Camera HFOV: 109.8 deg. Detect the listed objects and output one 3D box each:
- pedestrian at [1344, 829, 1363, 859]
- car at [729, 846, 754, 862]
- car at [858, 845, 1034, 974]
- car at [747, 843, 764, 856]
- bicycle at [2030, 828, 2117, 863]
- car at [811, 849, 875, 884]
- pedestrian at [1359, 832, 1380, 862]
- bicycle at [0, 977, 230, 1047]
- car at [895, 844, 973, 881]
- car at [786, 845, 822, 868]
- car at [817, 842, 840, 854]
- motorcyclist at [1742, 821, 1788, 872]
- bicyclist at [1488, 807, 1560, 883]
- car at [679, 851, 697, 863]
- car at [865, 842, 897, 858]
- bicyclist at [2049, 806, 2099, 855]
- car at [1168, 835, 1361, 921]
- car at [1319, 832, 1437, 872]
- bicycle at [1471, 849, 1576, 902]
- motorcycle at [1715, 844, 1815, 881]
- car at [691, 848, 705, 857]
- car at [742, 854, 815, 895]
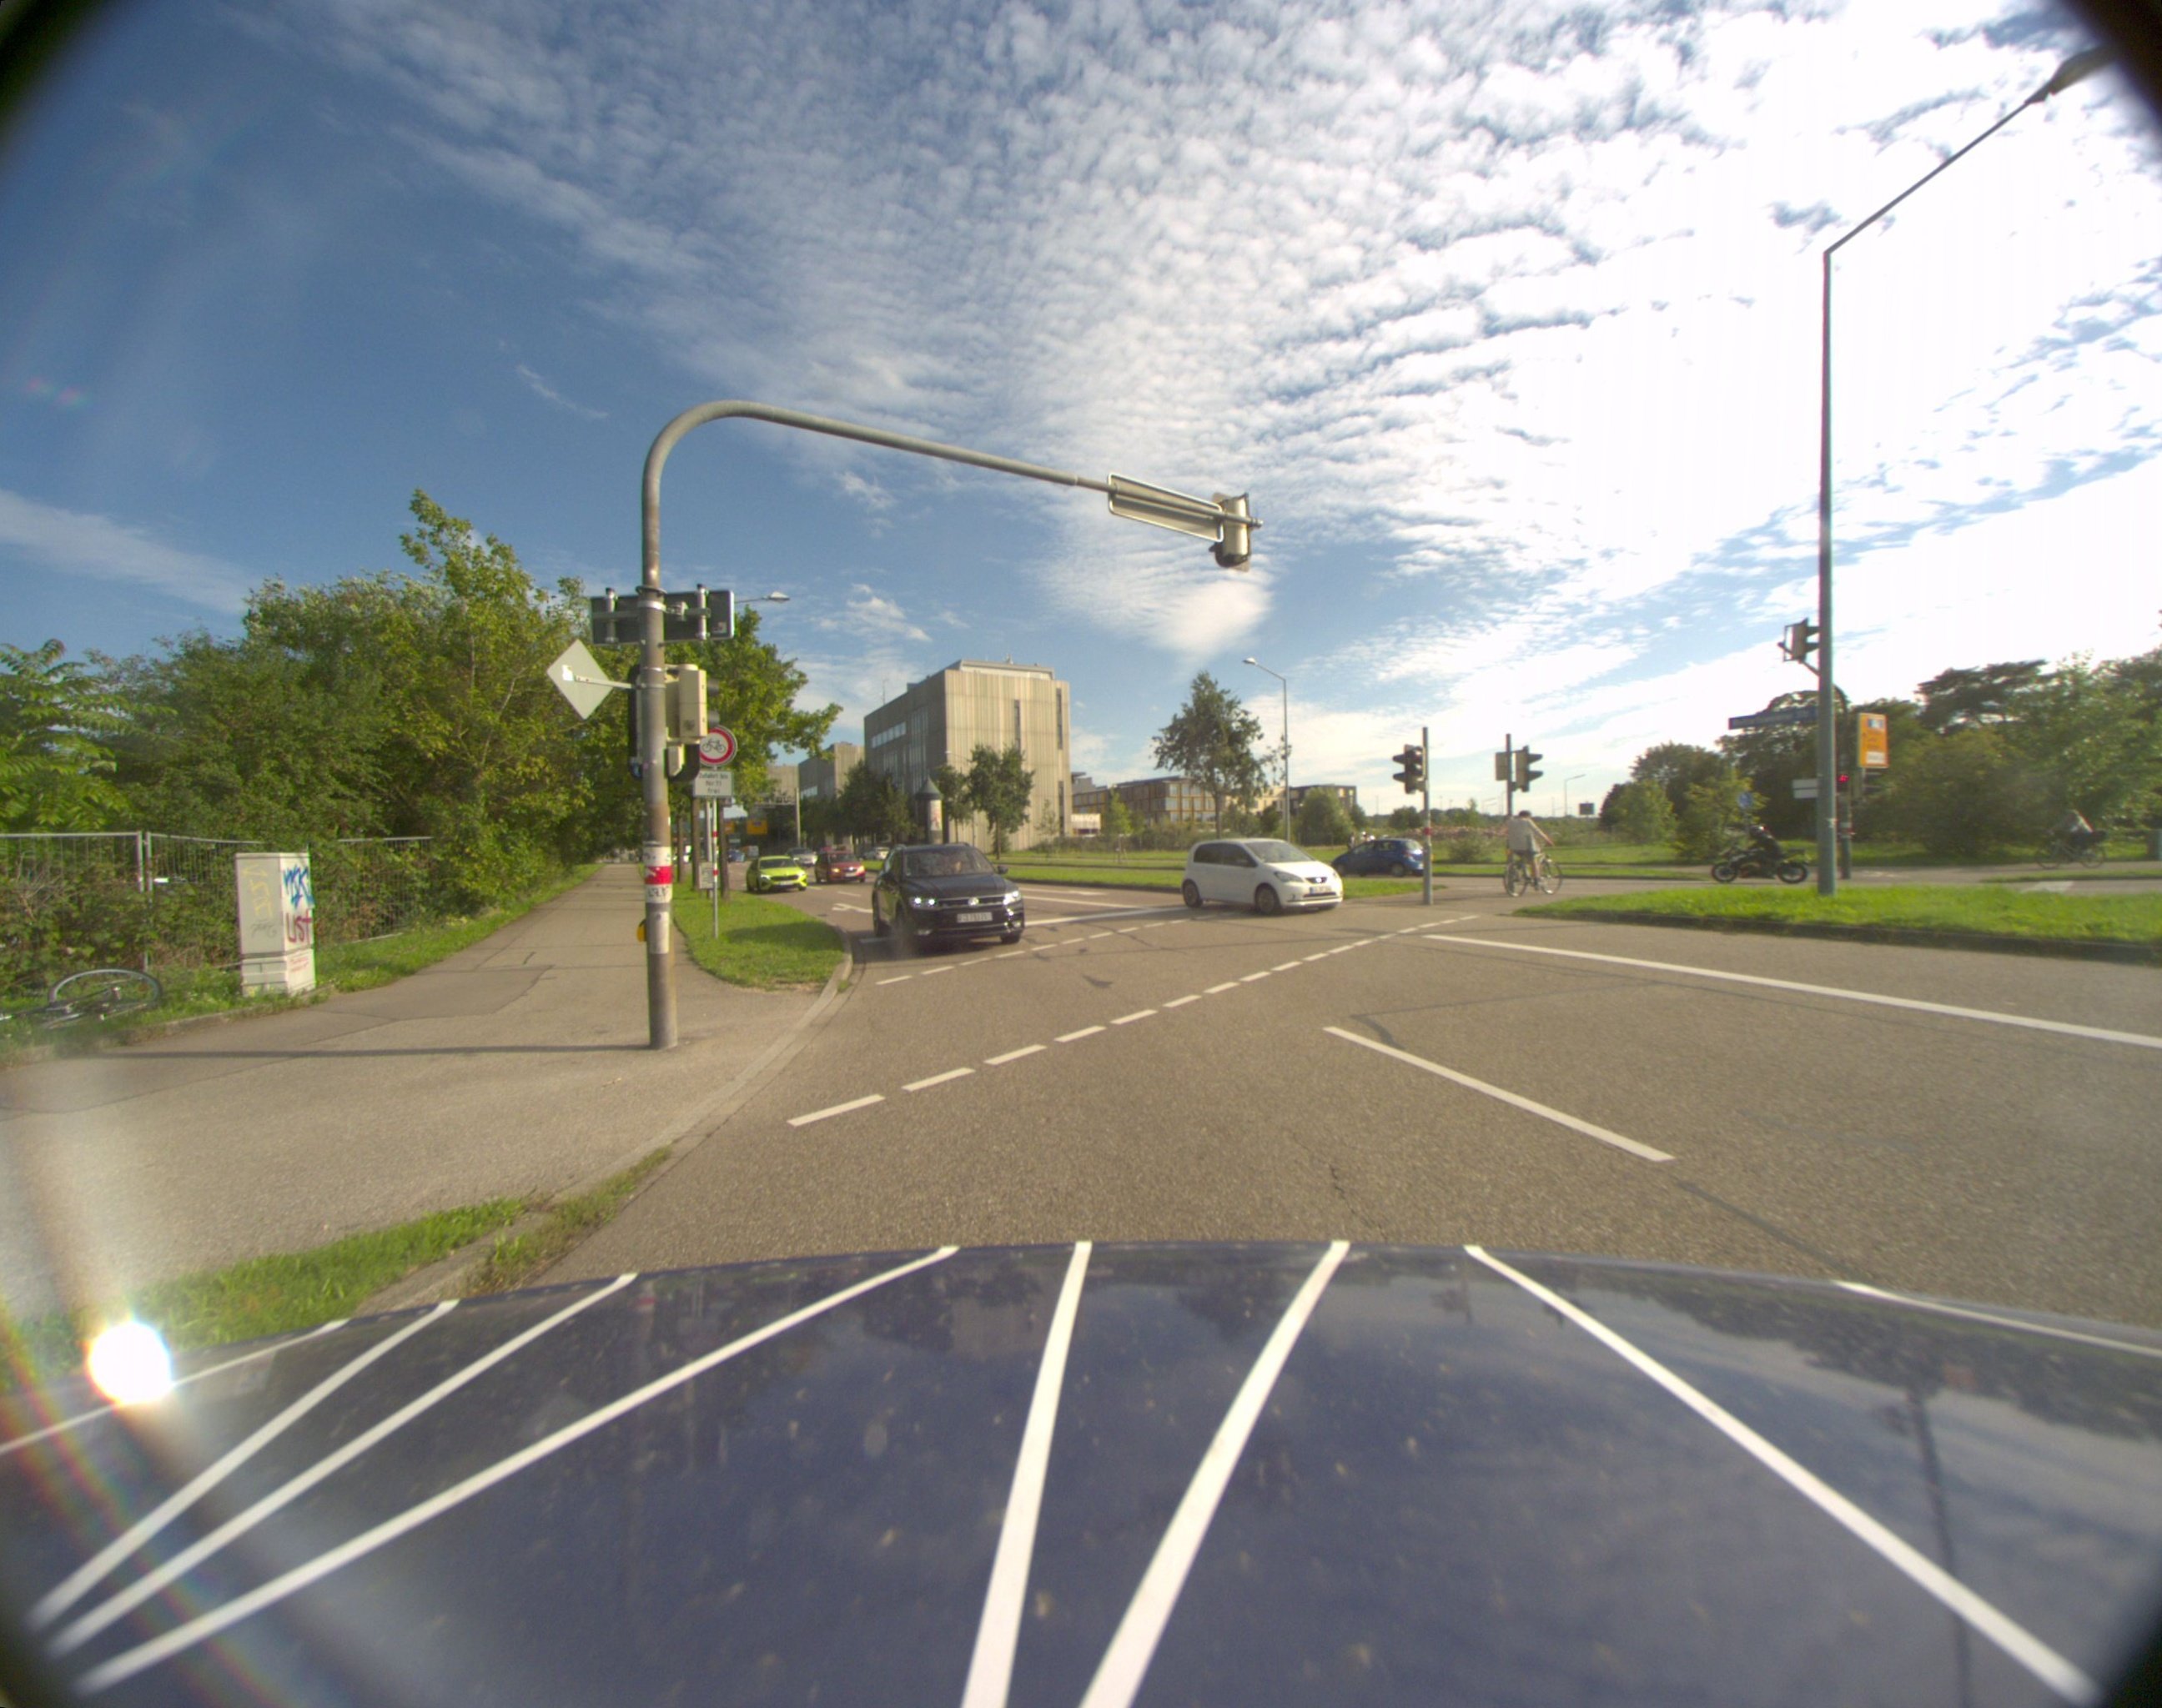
[{"bbox_3d":[15.147,-0.579,42.212,0.629,1.620,0.656,-4,3,-28],"label":"pedestrian"},{"bbox_3d":[-38.690,0.001,86.438,2.003,1.652,4.791,-2,1,-31],"label":"car"},{"bbox_3d":[-2.547,0.729,13.086,1.875,1.646,5.004,-4,2,-22],"label":"car"},{"bbox_3d":[-59.318,-0.812,138.500,2.037,2.241,5.528,-1,1,-31],"label":"car"},{"bbox_3d":[29.906,-0.268,22.913,1.836,0.982,0.611,-2,1,0],"label":"bicycle"},{"bbox_3d":[-11.117,0.531,35.291,1.697,1.467,4.216,-4,2,-33],"label":"car"},{"bbox_3d":[15.223,-0.368,40.096,0.629,1.500,0.754,-7,4,-36],"label":"pedestrian"},{"bbox_3d":[-9.169,1.422,7.053,2.245,0.344,1.092,-4,1,25],"label":"bicycle"},{"bbox_3d":[-6.466,0.342,33.118,1.827,1.413,4.436,-4,2,-32],"label":"car"},{"bbox_3d":[-20.866,0.176,57.139,1.697,1.467,4.215,-4,4,-31],"label":"car"},{"bbox_3d":[-29.643,-0.697,89.058,1.688,1.426,3.581,-2,2,-33],"label":"car"},{"bbox_3d":[18.914,-0.212,21.033,0.940,1.358,0.786,0,2,40],"label":"motorcyclist"},{"bbox_3d":[9.345,-0.197,16.058,0.867,1.547,0.995,-2,2,-26],"label":"bicyclist"},{"bbox_3d":[-48.849,0.316,94.444,1.740,1.382,3.990,-2,2,-31],"label":"car"},{"bbox_3d":[-19.377,-0.386,73.475,1.688,1.426,3.983,-2,2,-36],"label":"car"},{"bbox_3d":[29.930,-0.701,22.916,0.697,1.437,0.611,-2,2,1],"label":"bicyclist"},{"bbox_3d":[3.580,0.402,15.448,1.769,1.456,3.651,-4,2,-29],"label":"car"},{"bbox_3d":[11.650,-0.067,30.008,1.787,1.492,3.983,0,0,-36],"label":"car"},{"bbox_3d":[9.388,0.423,16.104,1.964,1.002,1.000,-2,2,-26],"label":"bicycle"},{"bbox_3d":[18.903,0.234,21.062,2.018,0.981,0.786,0,2,40],"label":"motorcycle"},{"bbox_3d":[-61.210,-0.184,121.382,1.740,1.382,3.990,-2,2,-31],"label":"car"},{"bbox_3d":[-12.490,0.766,31.193,1.899,1.413,4.596,-5,3,-32],"label":"car"}]
